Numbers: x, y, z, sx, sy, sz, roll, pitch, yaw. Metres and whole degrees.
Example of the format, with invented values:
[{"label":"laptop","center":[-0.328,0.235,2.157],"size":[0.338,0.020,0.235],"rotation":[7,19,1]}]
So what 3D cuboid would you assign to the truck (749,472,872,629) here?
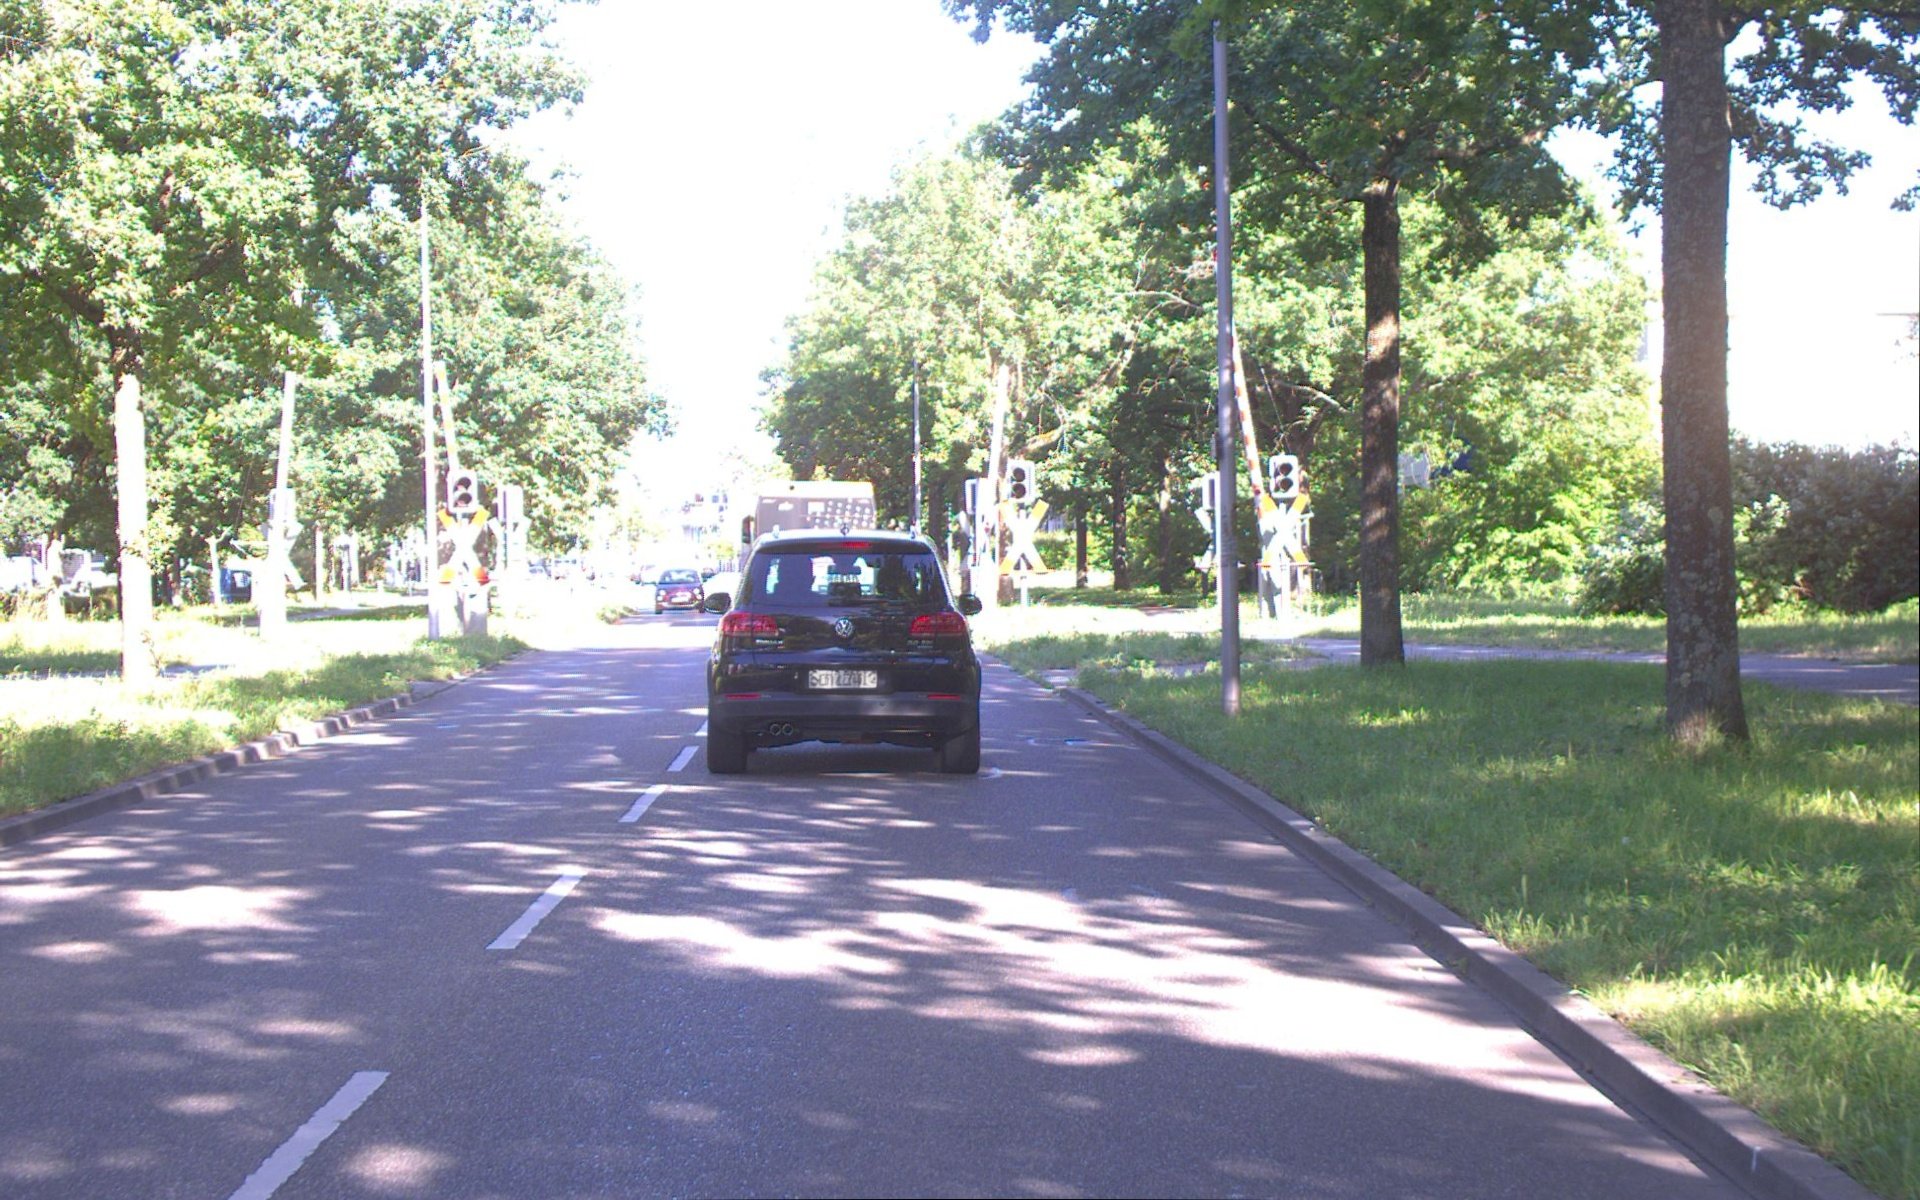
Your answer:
[{"label":"truck","center":[-3.249,-1.090,75.705],"size":[2.512,3.232,8.153],"rotation":[-1,1,-2]}]

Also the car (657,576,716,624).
[{"label":"car","center":[-8.941,-0.015,112.516],"size":[1.565,1.499,4.000],"rotation":[1,1,1]}]

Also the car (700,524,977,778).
[{"label":"car","center":[-0.843,0.305,24.329],"size":[1.782,1.628,4.000],"rotation":[1,1,-2]}]
